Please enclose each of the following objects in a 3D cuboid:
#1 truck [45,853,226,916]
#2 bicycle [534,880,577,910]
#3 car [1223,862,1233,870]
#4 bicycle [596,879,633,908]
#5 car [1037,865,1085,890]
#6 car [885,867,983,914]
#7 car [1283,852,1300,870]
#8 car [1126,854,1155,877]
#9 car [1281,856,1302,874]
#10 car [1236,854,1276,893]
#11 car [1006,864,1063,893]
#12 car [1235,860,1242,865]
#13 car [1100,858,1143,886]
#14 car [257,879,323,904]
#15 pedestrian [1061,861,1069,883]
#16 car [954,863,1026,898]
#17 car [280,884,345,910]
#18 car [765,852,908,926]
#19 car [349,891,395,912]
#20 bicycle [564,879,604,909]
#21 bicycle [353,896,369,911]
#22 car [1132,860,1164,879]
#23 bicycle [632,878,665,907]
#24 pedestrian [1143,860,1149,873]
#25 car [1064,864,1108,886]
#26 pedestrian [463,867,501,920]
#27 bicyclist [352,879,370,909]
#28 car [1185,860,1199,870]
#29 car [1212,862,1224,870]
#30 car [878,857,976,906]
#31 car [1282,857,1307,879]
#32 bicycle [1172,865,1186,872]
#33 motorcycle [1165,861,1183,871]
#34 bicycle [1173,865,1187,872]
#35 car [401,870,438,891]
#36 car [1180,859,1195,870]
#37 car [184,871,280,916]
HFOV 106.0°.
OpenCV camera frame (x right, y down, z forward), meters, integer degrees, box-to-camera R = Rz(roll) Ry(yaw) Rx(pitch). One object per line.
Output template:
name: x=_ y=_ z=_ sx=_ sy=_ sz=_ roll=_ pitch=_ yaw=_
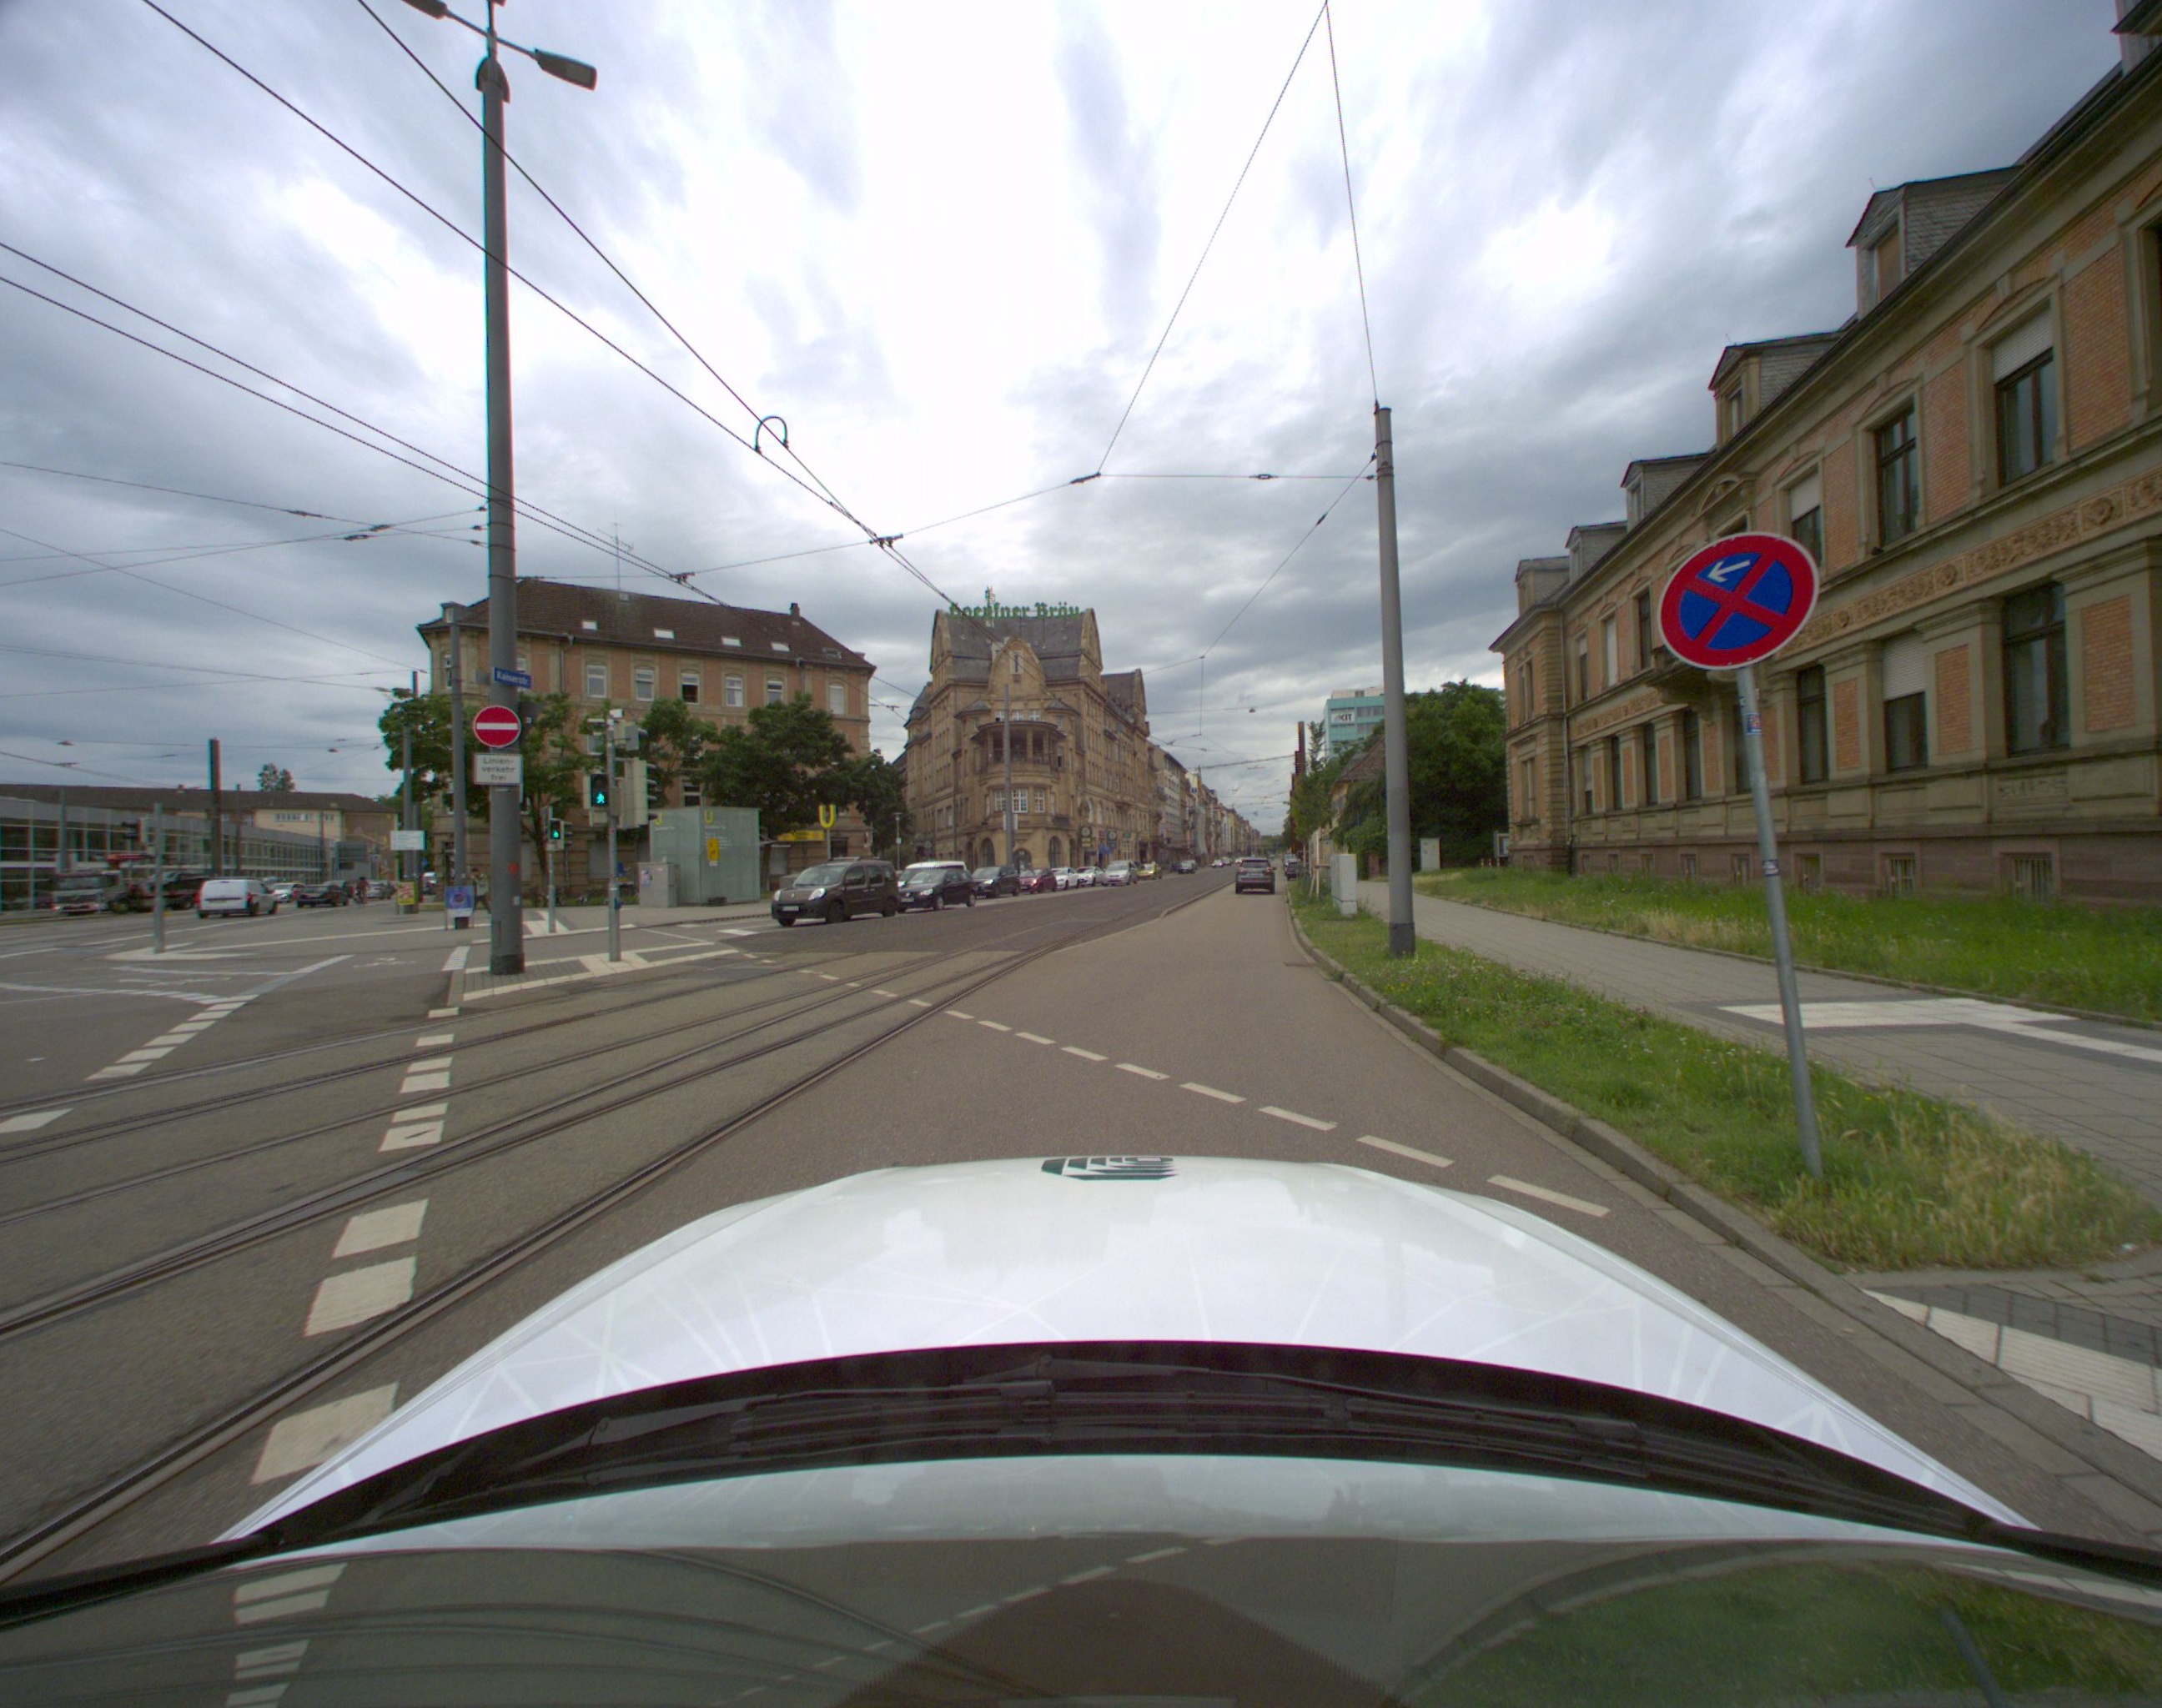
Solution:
truck: x=-59.120 y=1.892 z=51.378 sx=2.800 sy=3.549 sz=9.171 roll=-1 pitch=-2 yaw=-16
bicycle: x=-25.247 y=1.935 z=39.178 sx=0.960 sy=1.354 sz=3.101 roll=-1 pitch=-2 yaw=-18
car: x=30.477 y=2.448 z=168.967 sx=1.746 sy=1.671 sz=4.631 roll=-2 pitch=-1 yaw=14
bicycle: x=-23.001 y=1.918 z=40.243 sx=0.960 sy=1.354 sz=3.101 roll=-1 pitch=-2 yaw=-18
car: x=-1.220 y=1.445 z=51.541 sx=1.734 sy=1.380 sz=4.379 roll=-5 pitch=-1 yaw=15
car: x=-5.053 y=1.231 z=28.567 sx=1.675 sy=1.442 sz=4.018 roll=-2 pitch=-1 yaw=18
car: x=27.682 y=0.886 z=107.232 sx=1.838 sy=2.115 sz=5.003 roll=-5 pitch=-1 yaw=13
car: x=5.761 y=1.079 z=78.621 sx=1.886 sy=1.977 sz=5.116 roll=-4 pitch=-1 yaw=13
car: x=19.696 y=1.027 z=76.365 sx=1.743 sy=1.574 sz=3.945 roll=-4 pitch=-1 yaw=13
car: x=8.425 y=0.904 z=39.068 sx=1.737 sy=1.756 sz=3.938 roll=0 pitch=0 yaw=14
car: x=-2.584 y=1.369 z=46.127 sx=1.848 sy=1.399 sz=3.912 roll=-4 pitch=-1 yaw=17
car: x=41.868 y=2.280 z=216.001 sx=1.675 sy=1.420 sz=4.150 roll=-2 pitch=-1 yaw=14
car: x=2.821 y=1.182 z=55.706 sx=1.849 sy=1.706 sz=4.929 roll=-3 pitch=-1 yaw=15
car: x=-62.718 y=2.925 z=64.675 sx=2.000 sy=1.839 sz=4.492 roll=-1 pitch=-1 yaw=-20
pedestrian: x=-1.280 y=1.471 z=65.768 sx=0.628 sy=1.719 sz=0.532 roll=-2 pitch=-1 yaw=-1
car: x=-4.487 y=1.287 z=40.810 sx=1.848 sy=1.534 sz=4.322 roll=-4 pitch=-1 yaw=18
car: x=-47.248 y=2.615 z=50.146 sx=2.006 sy=1.420 sz=3.961 roll=-1 pitch=-1 yaw=-30
car: x=-6.821 y=0.937 z=23.273 sx=1.675 sy=1.900 sz=4.406 roll=-2 pitch=-1 yaw=18
car: x=-57.235 y=3.825 z=65.853 sx=1.863 sy=1.508 sz=3.964 roll=0 pitch=-2 yaw=-27
bicycle: x=-24.187 y=1.927 z=39.671 sx=0.960 sy=1.354 sz=3.101 roll=-1 pitch=-2 yaw=-18
bicycle: x=-41.703 y=2.859 z=47.170 sx=0.624 sy=0.793 sz=1.572 roll=-1 pitch=-1 yaw=-43
car: x=5.958 y=1.380 z=71.949 sx=1.884 sy=1.511 sz=4.447 roll=-3 pitch=-1 yaw=16
bicycle: x=-21.857 y=1.919 z=41.192 sx=0.960 sy=1.354 sz=3.101 roll=-1 pitch=-2 yaw=-18
pedestrian: x=8.028 y=1.581 z=100.093 sx=0.564 sy=1.598 sz=0.721 roll=-2 pitch=-1 yaw=13
car: x=0.401 y=1.462 z=56.797 sx=1.911 sy=1.380 sz=4.276 roll=-2 pitch=-1 yaw=17
pedestrian: x=-20.478 y=1.336 z=27.843 sx=0.595 sy=1.728 sz=0.918 roll=-2 pitch=-1 yaw=39
bicyclist: x=-41.719 y=2.318 z=47.187 sx=0.694 sy=1.708 sz=0.788 roll=-1 pitch=-1 yaw=-44
car: x=17.827 y=1.753 z=130.239 sx=1.763 sy=1.504 sz=4.418 roll=-2 pitch=-1 yaw=14
car: x=25.214 y=2.147 z=149.402 sx=1.746 sy=1.449 sz=4.631 roll=-2 pitch=-1 yaw=14
car: x=-6.491 y=1.124 z=35.006 sx=1.848 sy=1.916 sz=5.125 roll=-2 pitch=-1 yaw=18
car: x=15.676 y=1.020 z=59.971 sx=1.626 sy=1.434 sz=3.945 roll=-4 pitch=-1 yaw=13
bicycle: x=13.825 y=2.025 z=114.516 sx=1.912 sy=1.001 sz=0.464 roll=-2 pitch=-1 yaw=6
motorcycle: x=12.875 y=1.701 z=112.360 sx=2.346 sy=1.303 sz=0.877 roll=-1 pitch=-1 yaw=-23
bicycle: x=13.985 y=2.064 z=115.246 sx=1.956 sy=1.001 sz=0.464 roll=-2 pitch=-1 yaw=6
car: x=-66.294 y=2.656 z=81.659 sx=2.004 sy=2.014 sz=3.964 roll=0 pitch=-2 yaw=-27
car: x=16.266 y=1.575 z=124.050 sx=1.763 sy=1.504 sz=4.418 roll=-2 pitch=-1 yaw=14
car: x=-39.920 y=1.799 z=38.410 sx=1.923 sy=1.940 sz=4.093 roll=-1 pitch=-1 yaw=-28
